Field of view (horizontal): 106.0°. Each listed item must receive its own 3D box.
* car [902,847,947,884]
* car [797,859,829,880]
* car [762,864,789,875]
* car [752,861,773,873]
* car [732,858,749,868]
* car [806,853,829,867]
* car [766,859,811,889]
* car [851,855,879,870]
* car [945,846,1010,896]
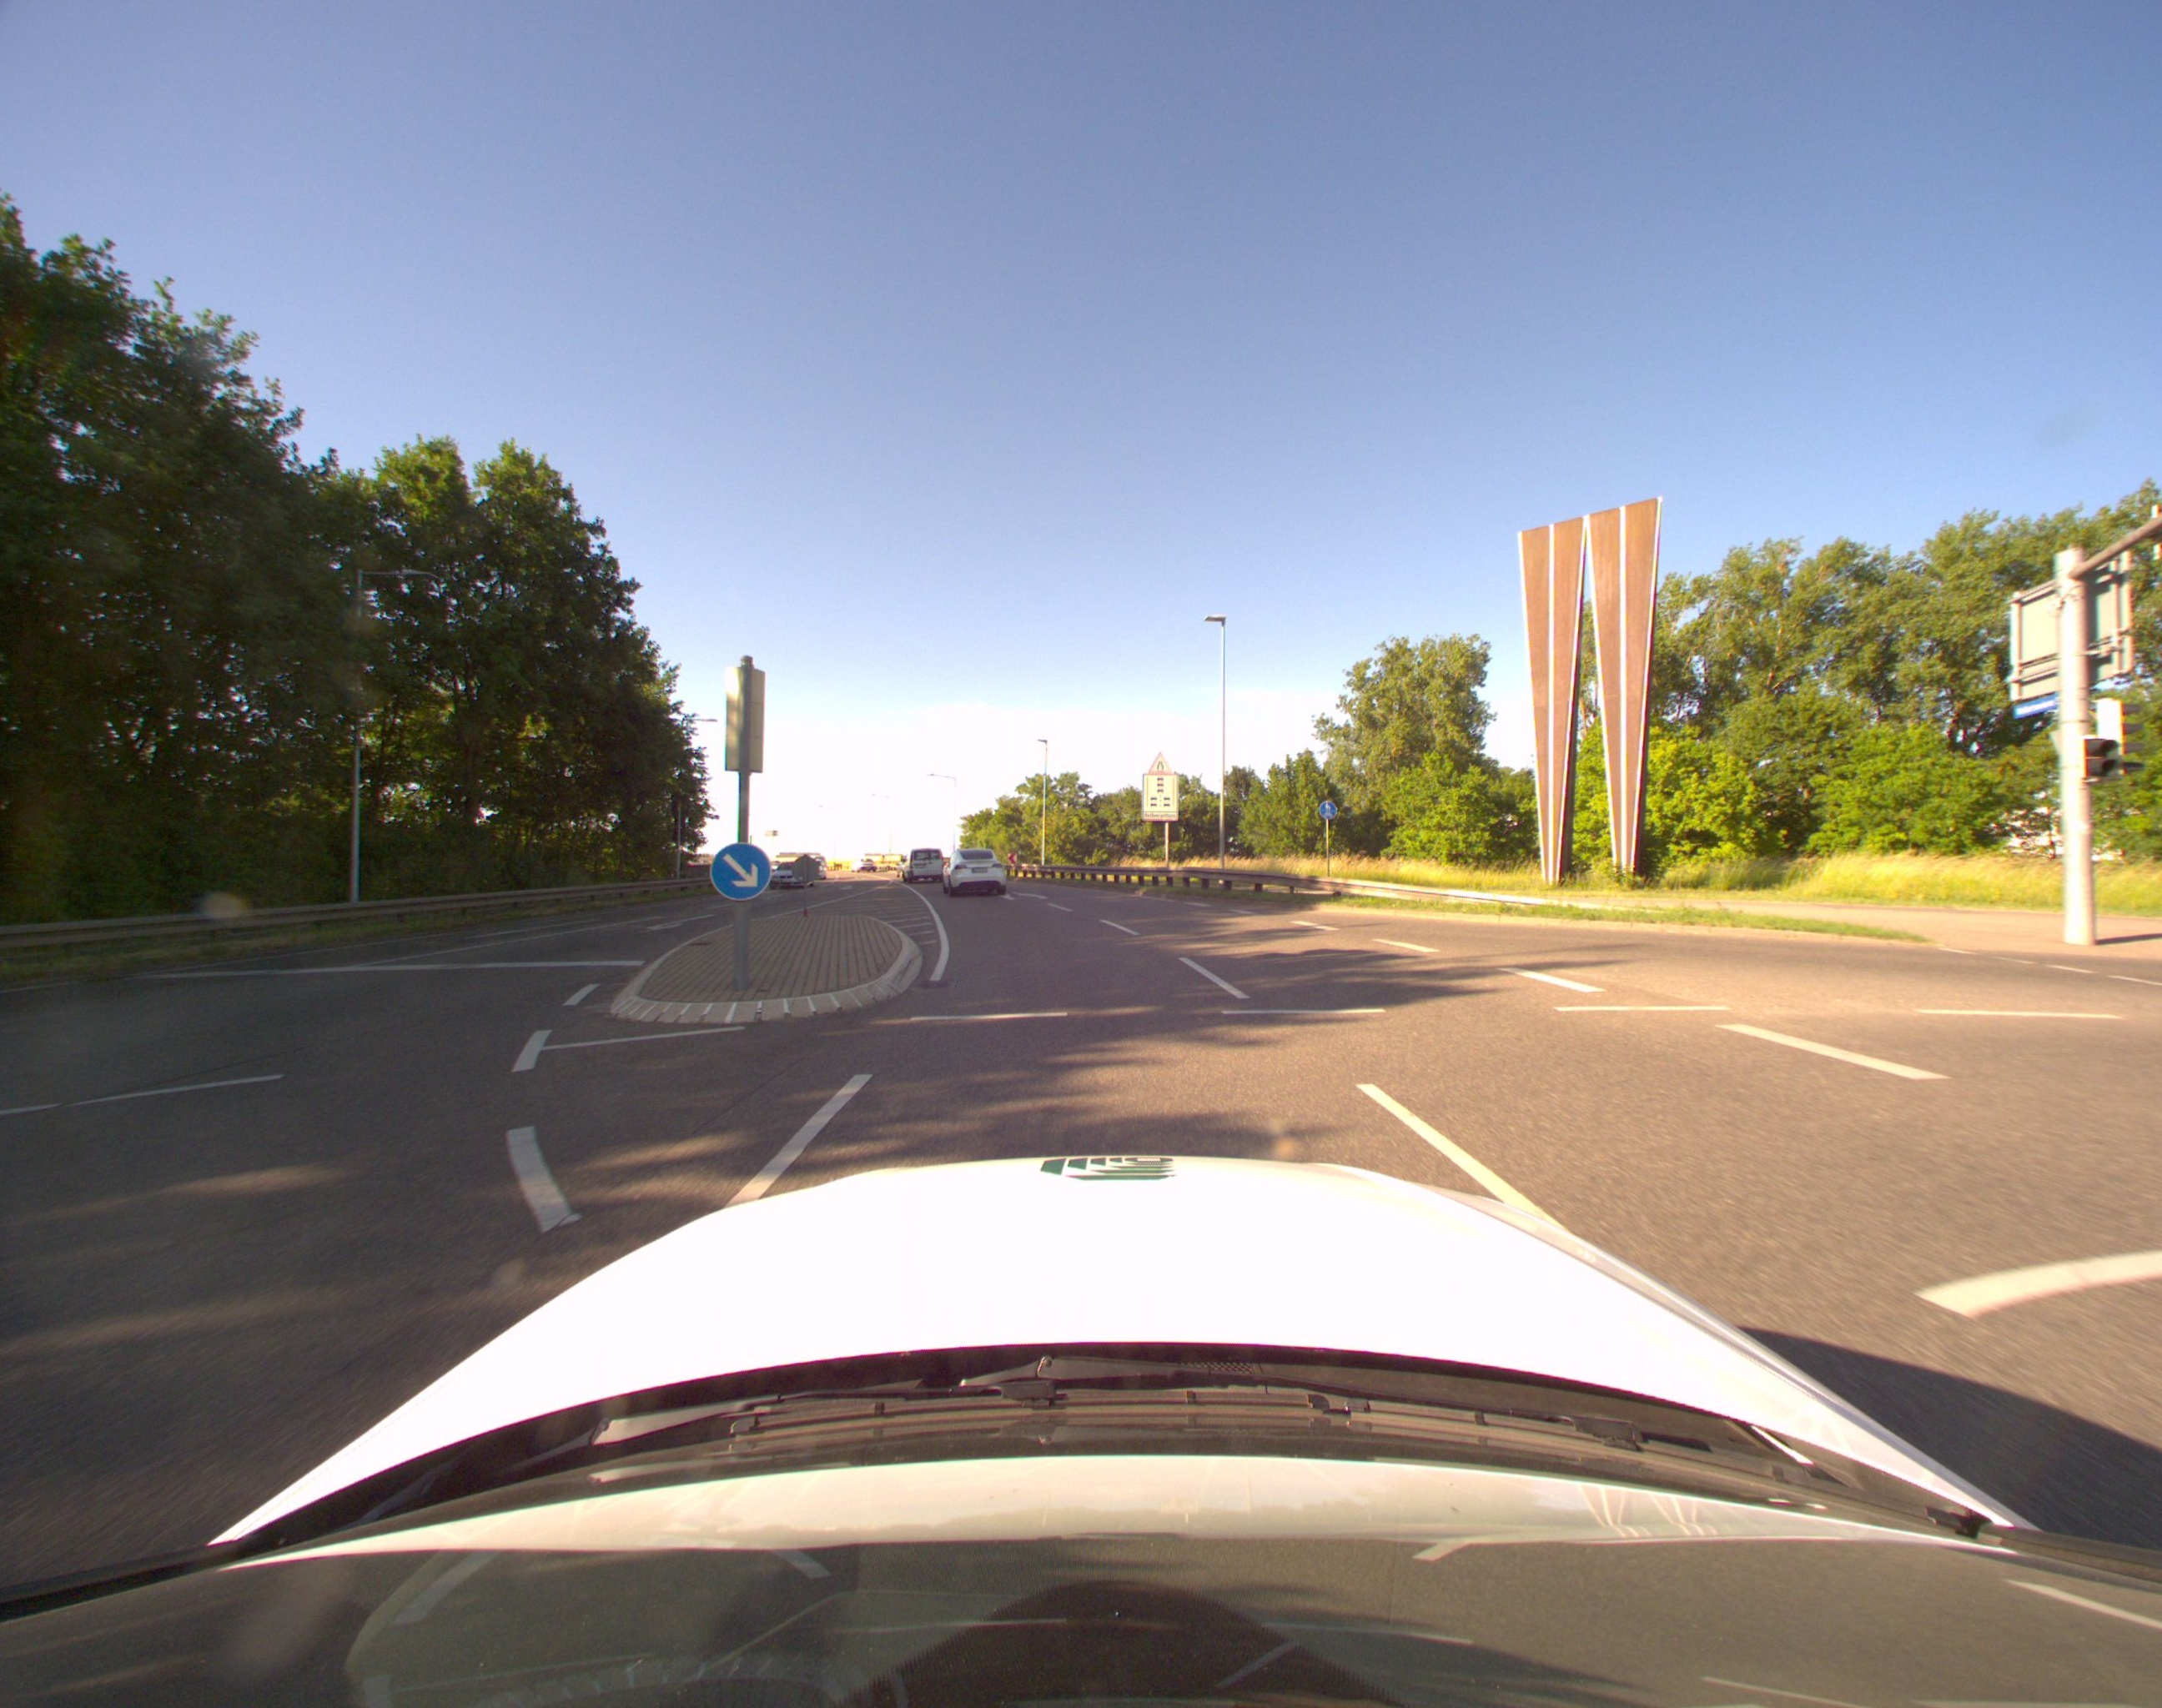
[{"bbox_3d":[-8.579,0.604,44.345,1.998,1.879,4.224,0,0,-17],"label":"car"},{"bbox_3d":[-18.971,1.070,57.637,2.102,1.390,4.383,0,0,-19],"label":"car"},{"bbox_3d":[-42.711,2.095,113.813,2.285,1.508,3.953,1,-1,-40],"label":"car"},{"bbox_3d":[-41.256,1.662,105.450,1.626,1.510,3.518,0,0,-38],"label":"car"},{"bbox_3d":[-51.830,1.398,124.084,1.416,1.452,3.311,0,0,-41],"label":"car"},{"bbox_3d":[-32.557,0.713,100.592,1.980,1.698,3.963,0,0,-28],"label":"car"},{"bbox_3d":[-15.082,1.001,42.152,1.872,1.474,3.890,0,0,-15],"label":"car"},{"bbox_3d":[-21.784,0.795,82.006,1.979,1.474,4.119,0,0,-26],"label":"car"},{"bbox_3d":[-3.766,0.587,29.051,1.995,1.640,4.111,0,0,-12],"label":"car"}]
